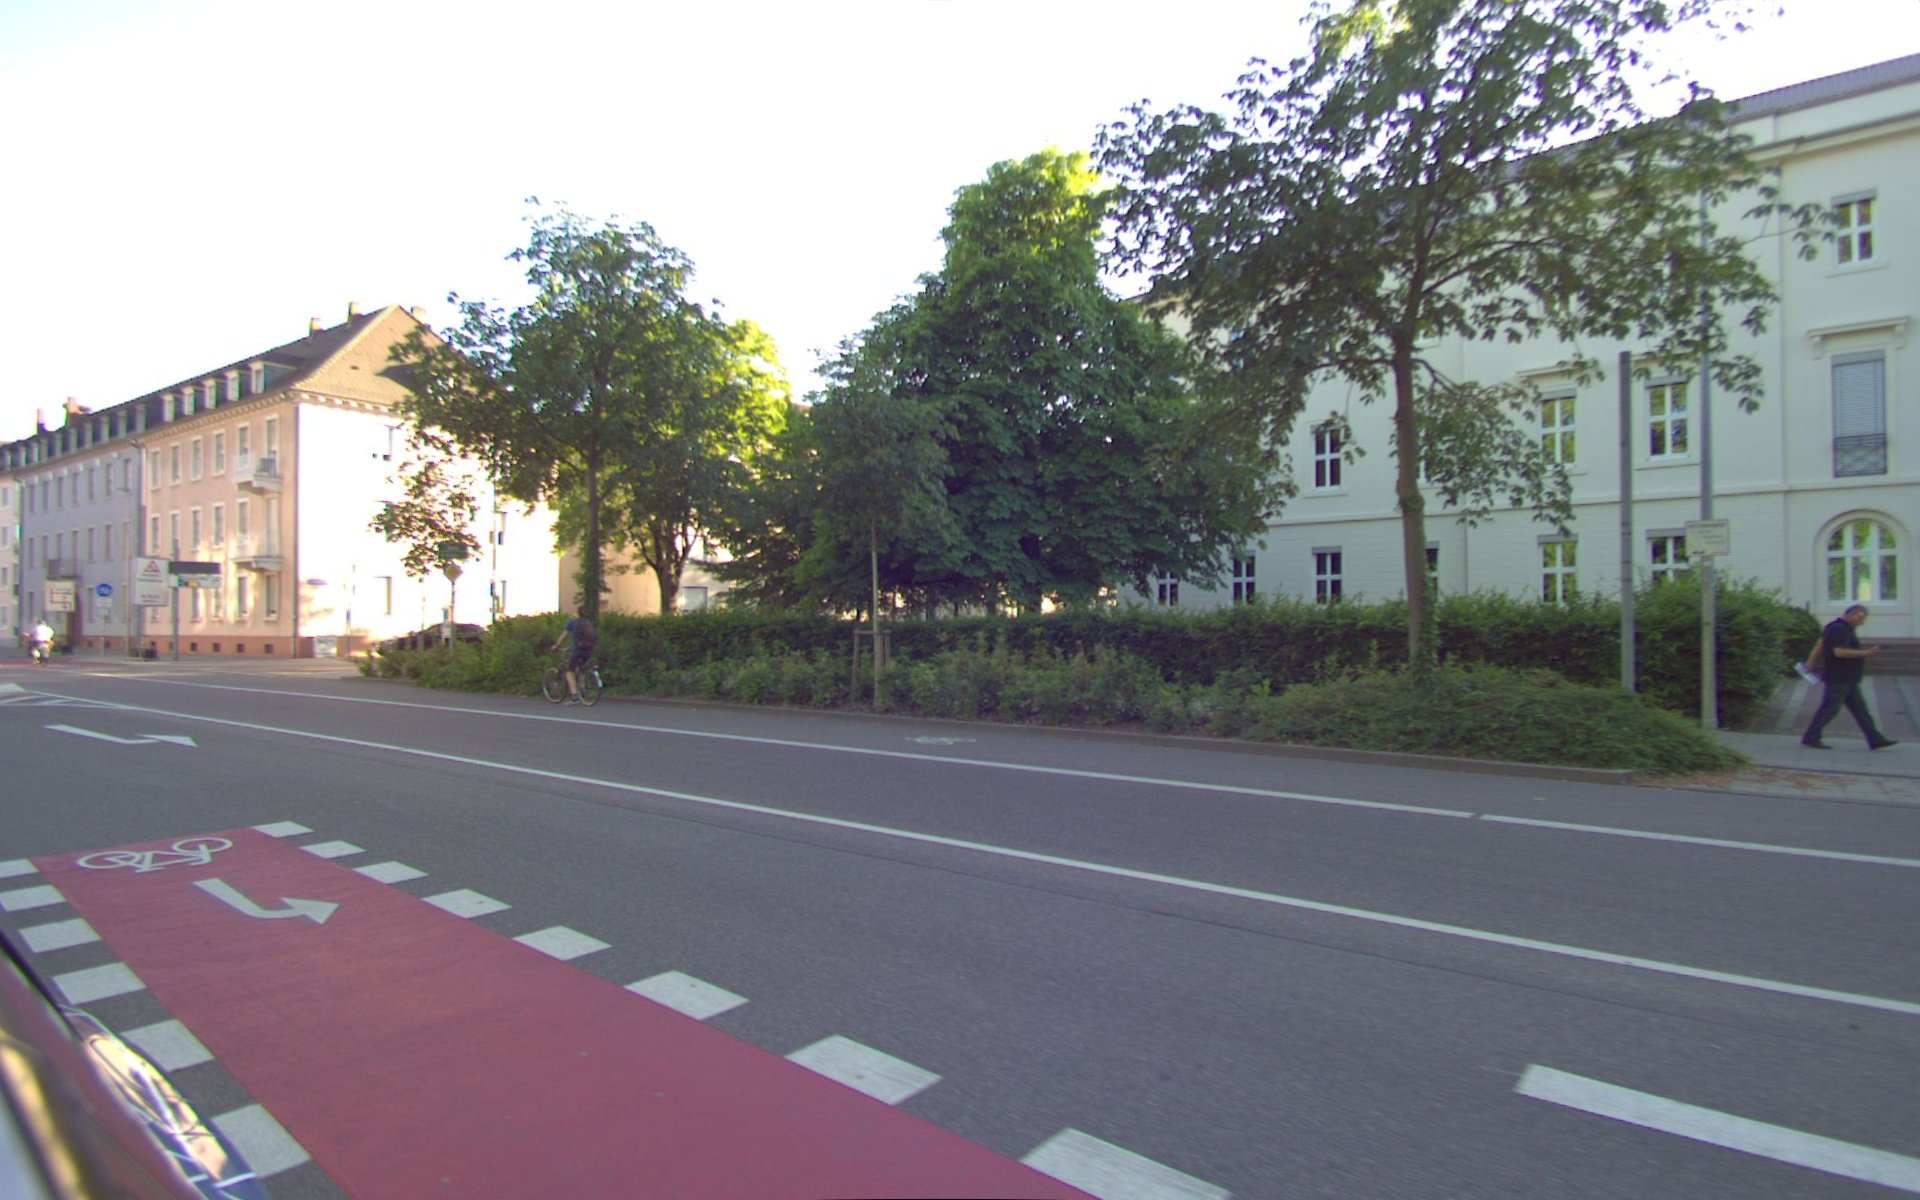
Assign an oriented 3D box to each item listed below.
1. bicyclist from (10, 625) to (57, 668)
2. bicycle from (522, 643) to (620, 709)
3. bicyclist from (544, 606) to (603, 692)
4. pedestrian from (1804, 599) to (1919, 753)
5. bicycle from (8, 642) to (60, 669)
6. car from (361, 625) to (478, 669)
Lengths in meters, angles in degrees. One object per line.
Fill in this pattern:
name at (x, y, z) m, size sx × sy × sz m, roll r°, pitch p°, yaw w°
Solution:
bicyclist at (-33.101, 1.638, 36.159) m, size 0.868 × 1.501 × 1.015 m, roll -1°, pitch -2°, yaw 32°
bicycle at (-7.374, 1.410, 19.124) m, size 2.243 × 1.168 × 0.688 m, roll -1°, pitch -3°, yaw 39°
bicyclist at (-7.285, 0.920, 19.076) m, size 0.837 × 1.574 × 0.683 m, roll -2°, pitch -3°, yaw 39°
pedestrian at (10.686, 0.872, 11.987) m, size 0.966 × 1.733 × 0.827 m, roll -1°, pitch -2°, yaw 37°
bicycle at (-33.111, 1.978, 36.159) m, size 2.854 × 0.920 × 0.656 m, roll -1°, pitch -2°, yaw 33°
car at (-23.064, 1.955, 43.285) m, size 1.994 × 1.674 × 3.956 m, roll -1°, pitch 0°, yaw 32°
